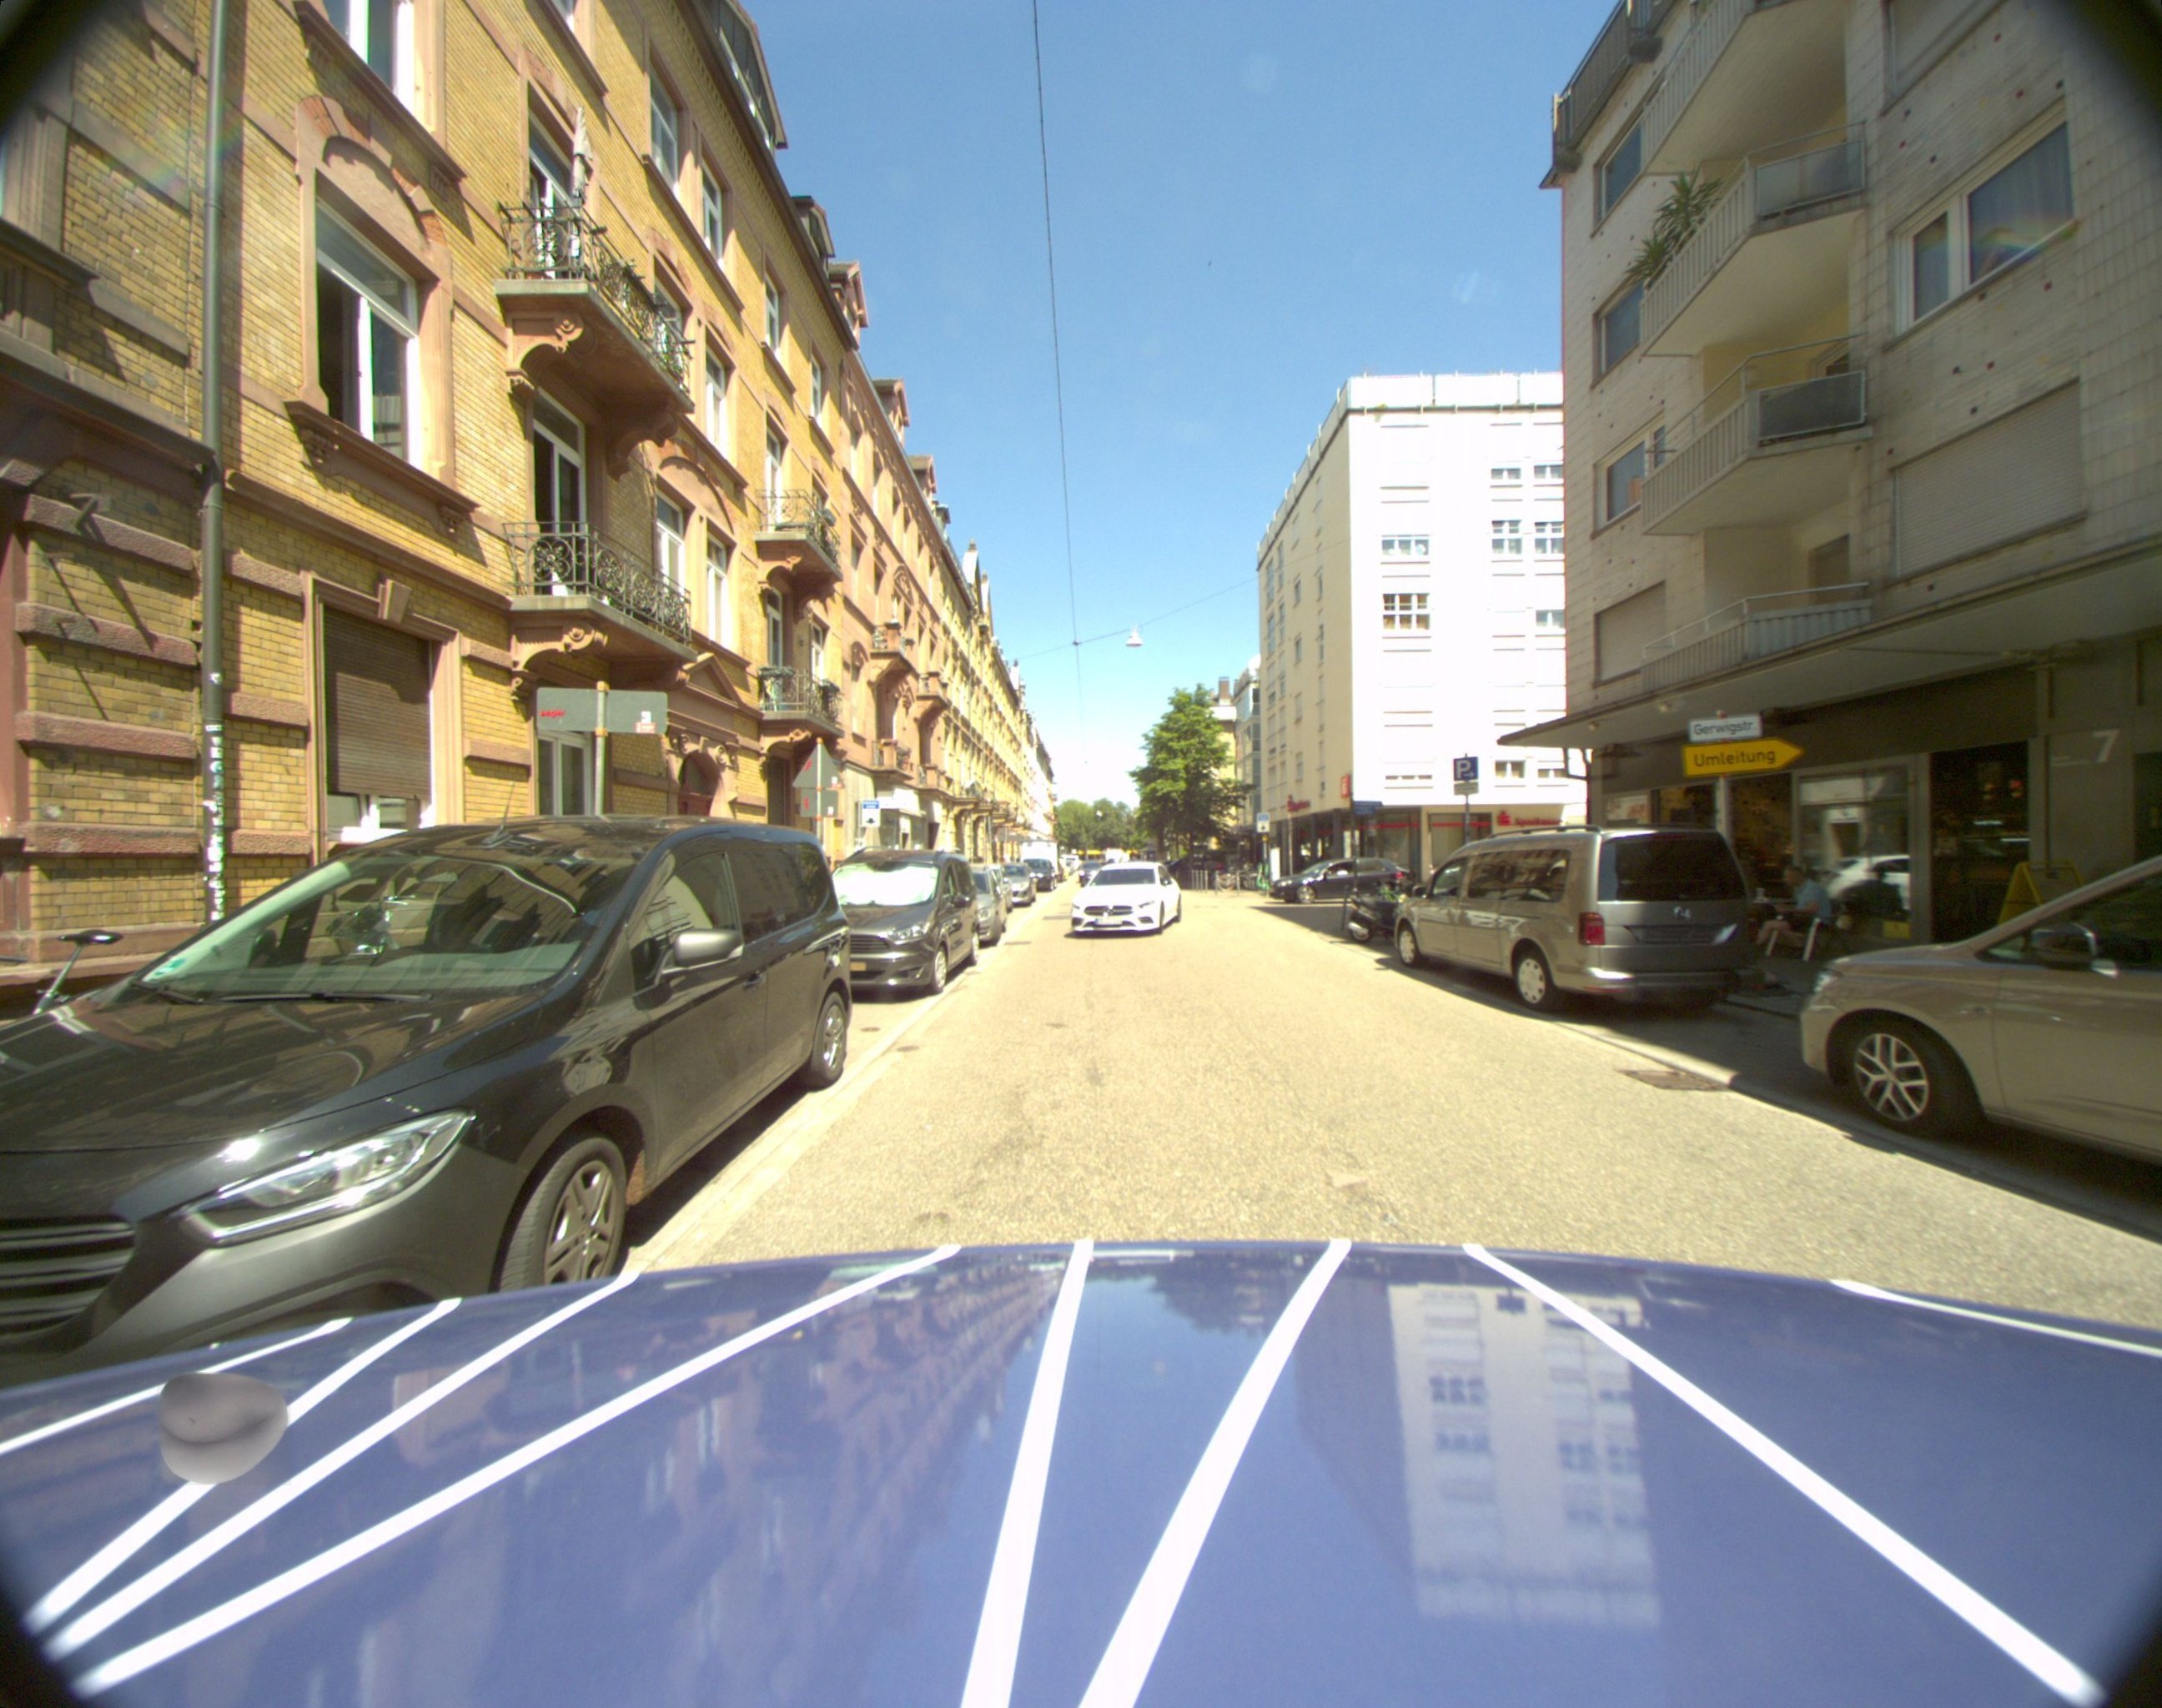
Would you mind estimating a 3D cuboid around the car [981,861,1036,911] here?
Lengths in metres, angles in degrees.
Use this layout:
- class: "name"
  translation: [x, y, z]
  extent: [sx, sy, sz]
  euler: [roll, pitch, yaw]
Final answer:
- class: "car"
  translation: [-2.383, 1.022, 25.672]
  extent: [1.603, 1.453, 3.689]
  euler: [-2, 0, -2]

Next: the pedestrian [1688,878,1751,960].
- class: "pedestrian"
  translation: [9.213, 0.923, 10.977]
  extent: [0.500, 1.120, 0.507]
  euler: [-1, 0, -19]

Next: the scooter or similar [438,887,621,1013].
- class: "scooter or similar"
  translation: [-6.076, 0.992, 8.547]
  extent: [0.477, 1.146, 2.112]
  euler: [-1, 0, 1]

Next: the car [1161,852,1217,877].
- class: "car"
  translation: [7.990, 0.774, 56.413]
  extent: [3.885, 1.737, 1.652]
  euler: [-1, 0, 0]

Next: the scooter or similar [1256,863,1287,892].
- class: "scooter or similar"
  translation: [7.803, 0.962, 31.116]
  extent: [1.192, 1.160, 0.289]
  euler: [-1, 0, -1]

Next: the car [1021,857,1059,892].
- class: "car"
  translation: [-1.927, 0.932, 36.353]
  extent: [1.682, 1.528, 3.999]
  euler: [-2, 0, -2]

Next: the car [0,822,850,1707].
- class: "car"
  translation: [-2.558, 0.824, 3.321]
  extent: [1.829, 1.756, 4.337]
  euler: [0, 0, -1]

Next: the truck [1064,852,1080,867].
- class: "truck"
  translation: [-1.251, 0.701, 103.466]
  extent: [1.998, 2.002, 4.902]
  euler: [-1, 0, 1]

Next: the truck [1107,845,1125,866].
- class: "truck"
  translation: [5.699, 0.194, 124.032]
  extent: [2.763, 3.270, 4.957]
  euler: [-1, 0, 1]

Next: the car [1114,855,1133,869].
- class: "car"
  translation: [4.786, 0.910, 85.819]
  extent: [1.998, 1.505, 4.000]
  euler: [-2, 0, 1]

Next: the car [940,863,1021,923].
- class: "car"
  translation: [-2.768, 1.039, 21.682]
  extent: [1.830, 1.452, 3.999]
  euler: [-2, 0, -2]

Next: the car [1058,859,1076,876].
- class: "car"
  translation: [-1.398, 1.349, 75.612]
  extent: [1.682, 1.528, 3.999]
  euler: [-2, 0, -2]

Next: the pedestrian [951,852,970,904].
- class: "pedestrian"
  translation: [-4.469, 0.872, 28.153]
  extent: [0.635, 1.903, 0.370]
  euler: [-1, 0, 1]

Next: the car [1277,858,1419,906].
- class: "car"
  translation: [8.384, 0.849, 24.118]
  extent: [3.888, 1.417, 1.815]
  euler: [-1, 0, 1]

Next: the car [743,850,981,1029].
- class: "car"
  translation: [-2.425, 0.843, 9.492]
  extent: [1.706, 1.723, 4.000]
  euler: [-2, 0, 1]

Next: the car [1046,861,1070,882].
- class: "car"
  translation: [-1.546, 1.141, 51.574]
  extent: [1.533, 1.293, 3.686]
  euler: [-2, 0, -2]

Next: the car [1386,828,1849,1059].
- class: "car"
  translation: [5.342, 0.741, 8.622]
  extent: [1.793, 1.818, 4.901]
  euler: [-2, 0, 1]

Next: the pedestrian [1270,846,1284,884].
- class: "pedestrian"
  translation: [10.885, 0.594, 42.218]
  extent: [0.495, 2.113, 0.608]
  euler: [-1, 0, -19]

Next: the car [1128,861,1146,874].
- class: "car"
  translation: [6.956, 1.646, 94.629]
  extent: [1.998, 1.505, 4.000]
  euler: [-2, 0, 1]

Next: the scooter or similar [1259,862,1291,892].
- class: "scooter or similar"
  translation: [7.789, 0.913, 30.538]
  extent: [1.192, 1.160, 0.289]
  euler: [-1, 0, -1]

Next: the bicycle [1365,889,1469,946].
- class: "bicycle"
  translation: [6.198, 1.150, 14.095]
  extent: [1.706, 0.951, 0.411]
  euler: [-2, 1, 43]

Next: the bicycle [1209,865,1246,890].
- class: "bicycle"
  translation: [6.663, 1.065, 34.605]
  extent: [1.608, 1.084, 0.371]
  euler: [-3, 0, 6]

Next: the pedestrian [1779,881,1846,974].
- class: "pedestrian"
  translation: [9.262, 0.916, 9.638]
  extent: [0.498, 1.120, 0.509]
  euler: [-1, 0, 29]

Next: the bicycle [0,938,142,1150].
- class: "bicycle"
  translation: [-6.113, 1.076, 3.906]
  extent: [0.354, 1.097, 1.755]
  euler: [-1, 0, 1]

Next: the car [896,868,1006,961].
- class: "car"
  translation: [-2.386, 1.063, 14.805]
  extent: [1.766, 1.441, 3.903]
  euler: [-2, 0, -5]

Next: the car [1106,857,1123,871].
- class: "car"
  translation: [4.464, 1.295, 101.506]
  extent: [1.998, 1.674, 4.000]
  euler: [-2, 0, 1]

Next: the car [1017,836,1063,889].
- class: "car"
  translation: [-2.216, 0.454, 42.348]
  extent: [2.067, 2.687, 5.039]
  euler: [-2, 0, 1]

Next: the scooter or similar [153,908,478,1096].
- class: "scooter or similar"
  translation: [-6.122, 1.096, 6.304]
  extent: [0.477, 1.146, 2.149]
  euler: [-1, 0, 1]

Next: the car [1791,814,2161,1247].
- class: "car"
  translation: [5.392, 0.702, 2.386]
  extent: [1.793, 1.800, 4.698]
  euler: [-2, 0, -2]

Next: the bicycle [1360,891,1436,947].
- class: "bicycle"
  translation: [5.750, 1.163, 13.802]
  extent: [1.210, 0.951, 0.338]
  euler: [-2, 1, 43]

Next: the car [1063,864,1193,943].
- class: "car"
  translation: [1.165, 0.955, 16.464]
  extent: [1.811, 1.417, 4.247]
  euler: [-1, 0, 18]

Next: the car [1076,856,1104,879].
- class: "car"
  translation: [0.622, 0.942, 53.132]
  extent: [1.780, 1.460, 4.000]
  euler: [-2, 0, 1]

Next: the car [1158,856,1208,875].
- class: "car"
  translation: [8.264, 0.906, 61.927]
  extent: [3.885, 1.487, 1.652]
  euler: [-1, 0, 0]

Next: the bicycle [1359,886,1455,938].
- class: "bicycle"
  translation: [6.478, 1.133, 15.156]
  extent: [1.706, 0.951, 0.411]
  euler: [-2, 1, 43]

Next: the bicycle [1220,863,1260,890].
- class: "bicycle"
  translation: [6.832, 0.959, 32.737]
  extent: [1.608, 1.084, 0.371]
  euler: [-3, 0, 6]

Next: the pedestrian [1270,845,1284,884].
- class: "pedestrian"
  translation: [10.711, 0.594, 41.503]
  extent: [0.608, 2.113, 0.496]
  euler: [-1, 0, 36]

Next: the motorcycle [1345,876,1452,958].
- class: "motorcycle"
  translation: [5.262, 1.031, 12.642]
  extent: [1.552, 1.276, 0.394]
  euler: [-2, 1, 33]

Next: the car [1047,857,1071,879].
- class: "car"
  translation: [-1.677, 1.022, 57.440]
  extent: [1.682, 1.528, 3.999]
  euler: [-2, 0, -2]

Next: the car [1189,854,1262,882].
- class: "car"
  translation: [8.253, 0.781, 43.733]
  extent: [3.885, 1.520, 1.652]
  euler: [-1, 0, 0]

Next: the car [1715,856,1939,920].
- class: "car"
  translation: [18.021, 0.768, 18.555]
  extent: [1.526, 1.361, 3.583]
  euler: [-2, 0, -21]
